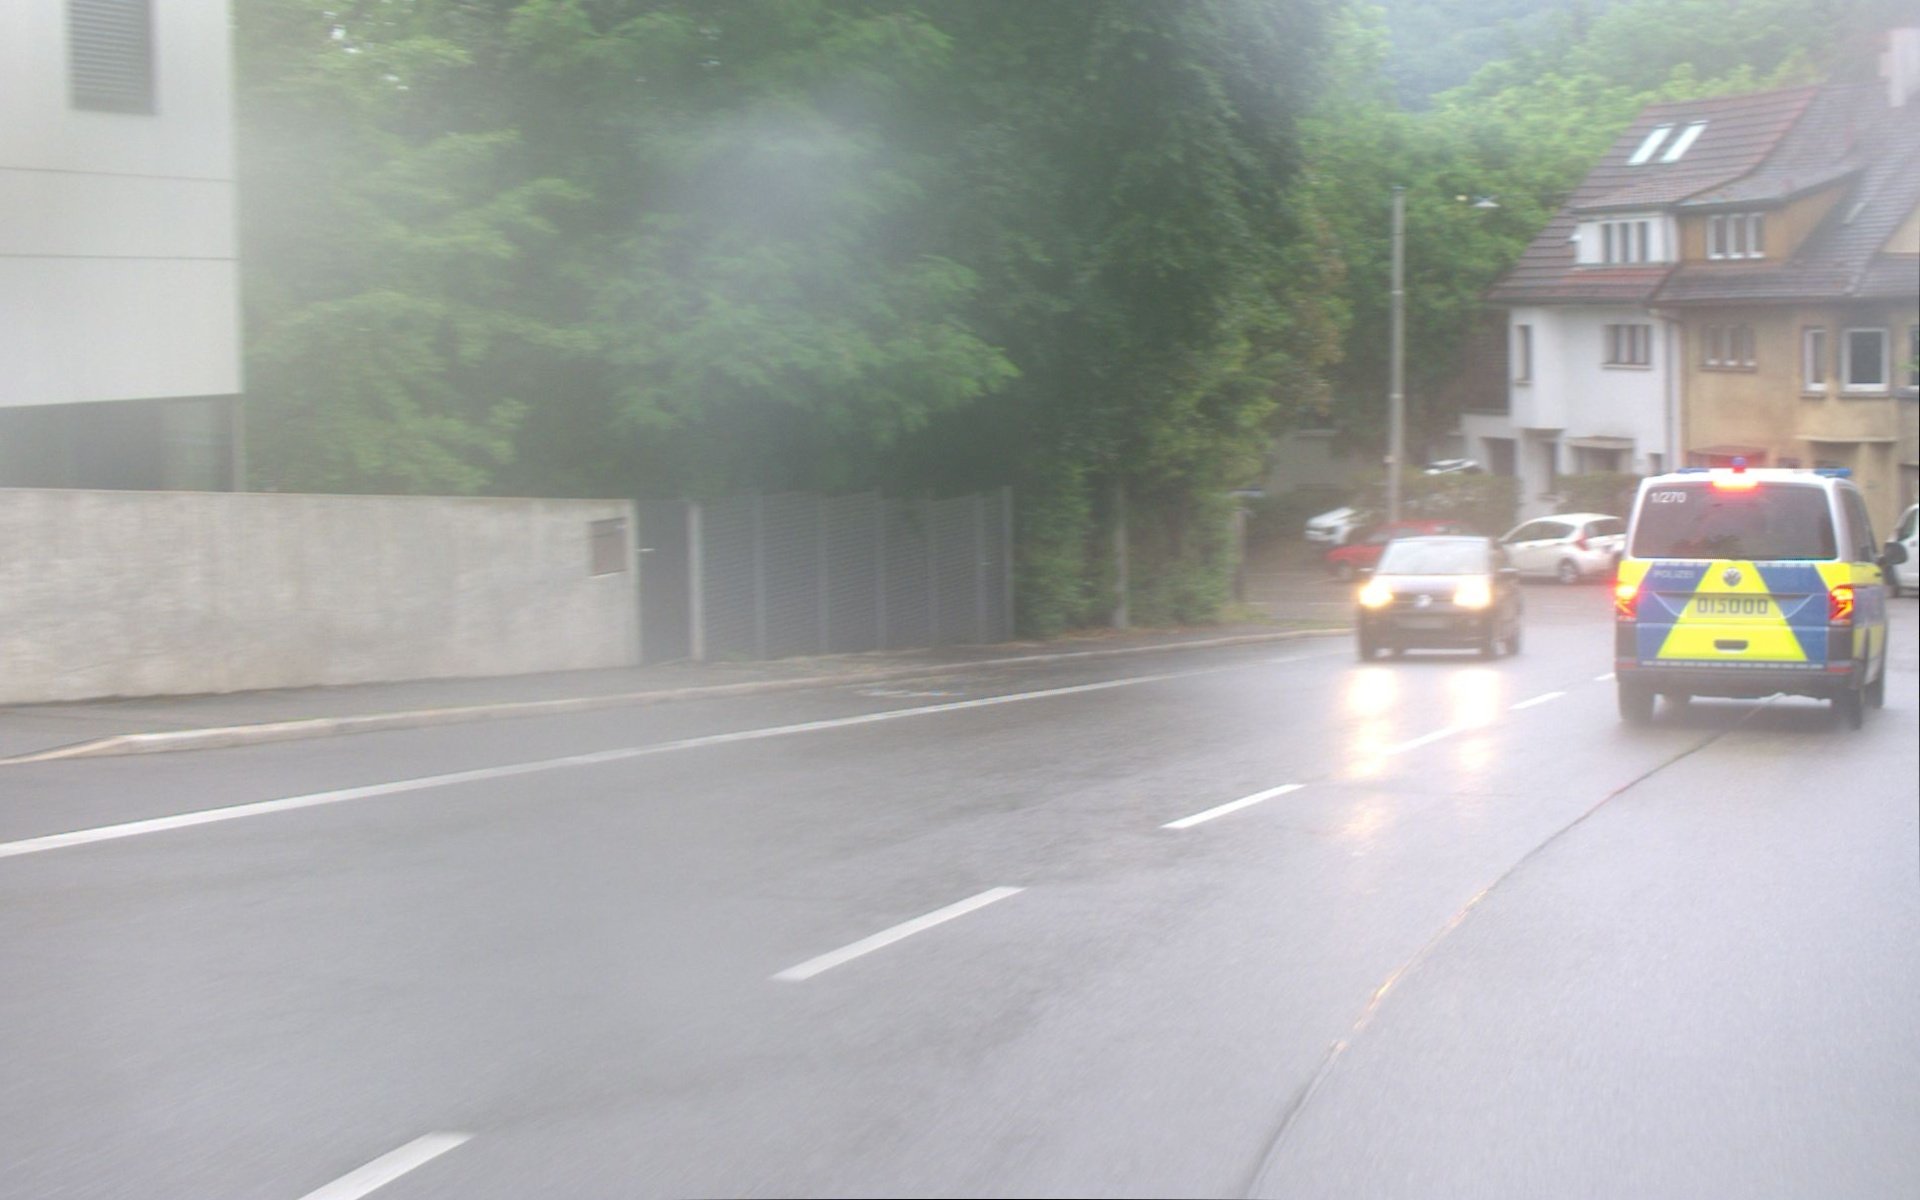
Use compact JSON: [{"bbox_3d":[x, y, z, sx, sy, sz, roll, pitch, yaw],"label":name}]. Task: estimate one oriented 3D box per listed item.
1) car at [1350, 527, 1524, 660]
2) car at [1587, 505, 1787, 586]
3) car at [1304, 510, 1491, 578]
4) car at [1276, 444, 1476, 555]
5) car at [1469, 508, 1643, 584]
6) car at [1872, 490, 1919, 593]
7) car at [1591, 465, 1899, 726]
[{"bbox_3d":[5.765,-0.118,41.222,1.650,1.415,3.801,2,2,13],"label":"car"},{"bbox_3d":[15.392,-1.149,73.026,1.913,1.533,4.416,-5,2,-22],"label":"car"},{"bbox_3d":[10.356,-1.325,81.518,1.781,1.362,4.194,-6,3,-41],"label":"car"},{"bbox_3d":[10.635,-2.596,87.944,4.396,1.835,2.001,-13,6,-11],"label":"car"},{"bbox_3d":[13.362,-1.201,77.272,1.765,1.509,3.823,-5,2,-29],"label":"car"},{"bbox_3d":[18.154,-1.100,62.660,1.705,1.785,4.327,-4,2,-1],"label":"car"},{"bbox_3d":[6.401,-0.040,27.655,1.995,1.887,4.566,-1,0,18],"label":"car"}]
